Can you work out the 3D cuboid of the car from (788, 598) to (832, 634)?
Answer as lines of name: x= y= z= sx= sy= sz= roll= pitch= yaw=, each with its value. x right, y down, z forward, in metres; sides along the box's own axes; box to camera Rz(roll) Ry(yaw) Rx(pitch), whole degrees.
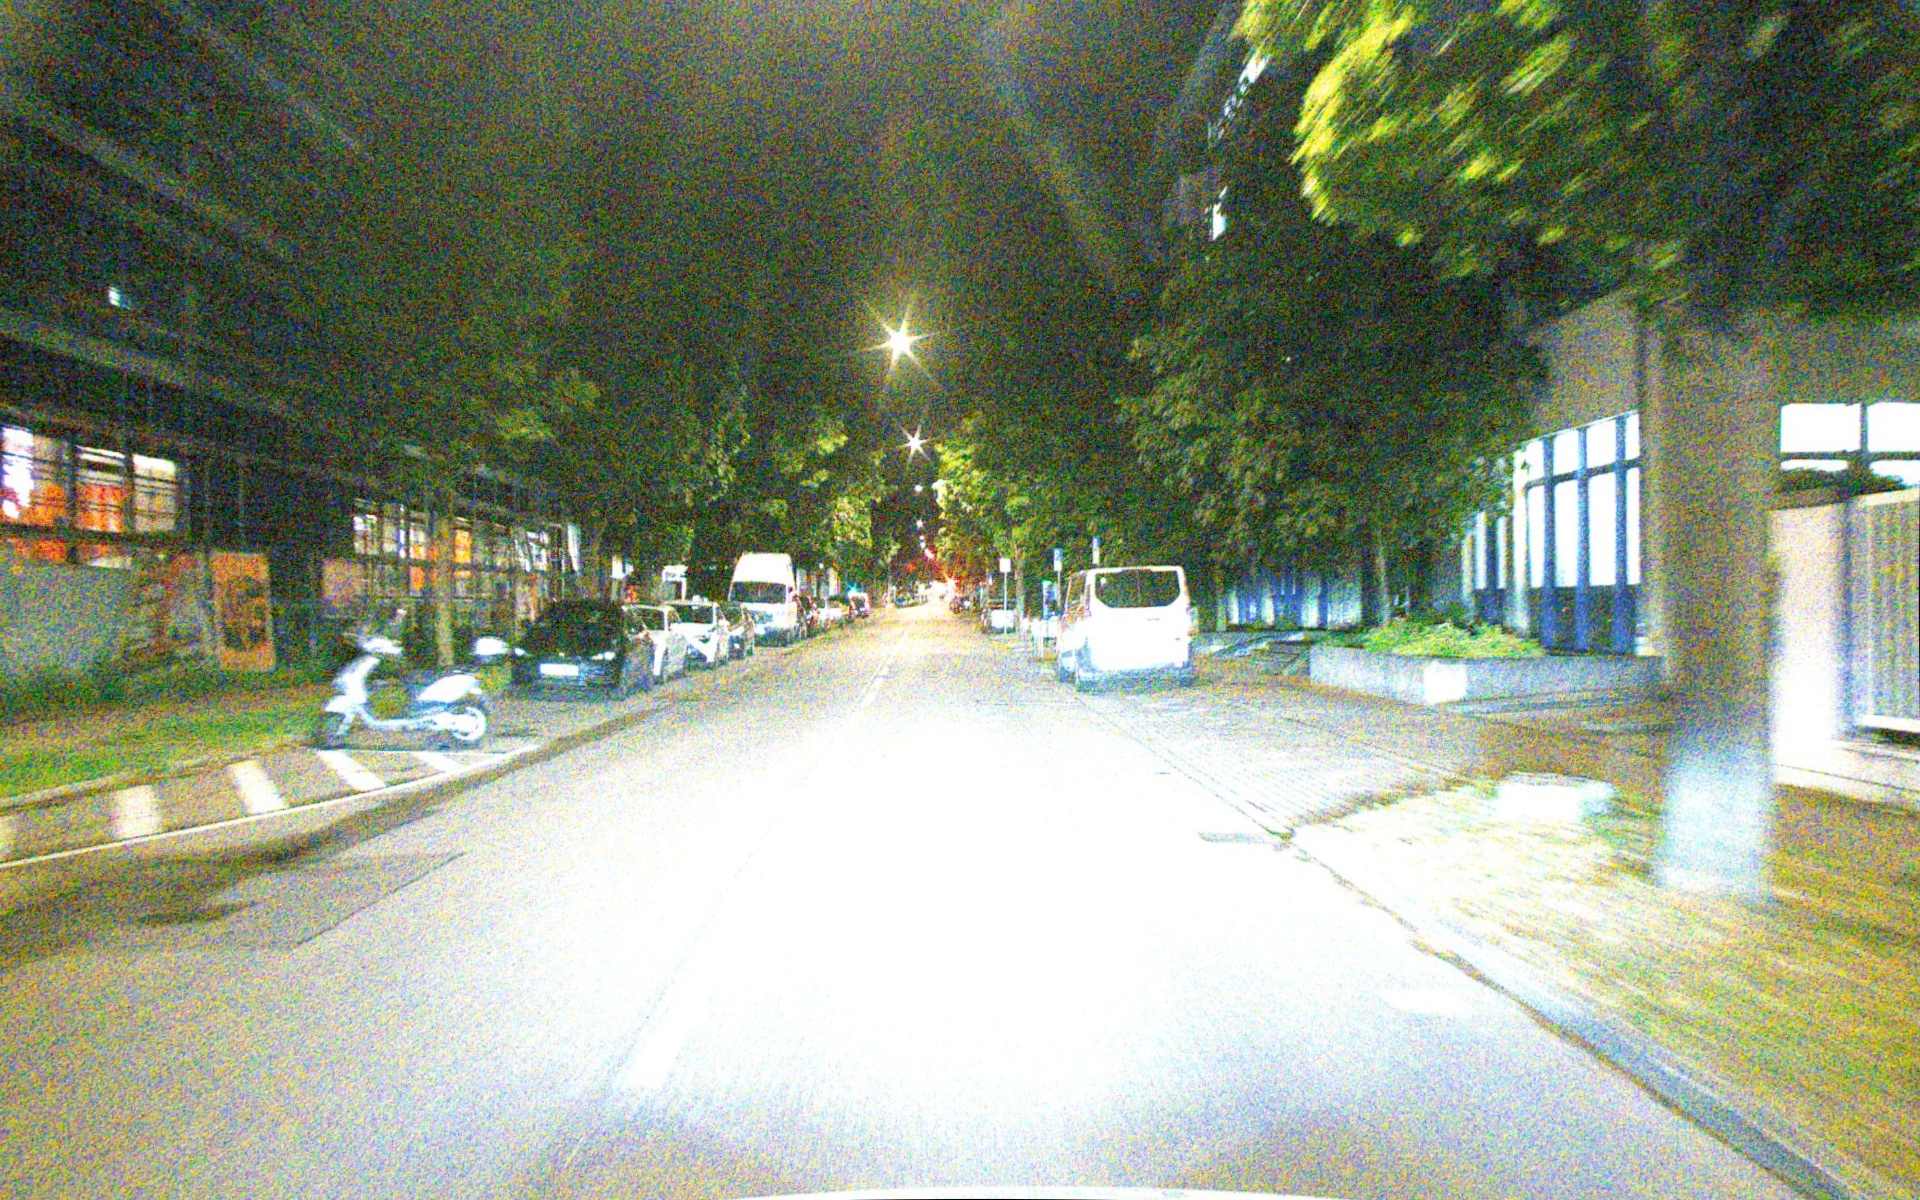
car: x=-6.819 y=0.737 z=75.687 sx=1.682 sy=1.528 sz=4.204 roll=3 pitch=0 yaw=-2

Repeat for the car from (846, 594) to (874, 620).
car: x=-7.704 y=0.559 z=127.739 sx=1.785 sy=1.843 sz=4.210 roll=3 pitch=0 yaw=0

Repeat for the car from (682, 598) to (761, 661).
car: x=-6.226 y=0.762 z=43.443 sx=1.612 sy=1.531 sz=3.859 roll=2 pitch=0 yaw=-2

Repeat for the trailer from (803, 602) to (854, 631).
trailer: x=-6.601 y=0.835 z=83.648 sx=2.067 sy=1.358 sz=5.434 roll=3 pitch=-1 yaw=0

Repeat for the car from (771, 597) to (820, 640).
car: x=-6.472 y=0.725 z=65.333 sx=1.707 sy=1.635 sz=4.295 roll=0 pitch=0 yaw=-3

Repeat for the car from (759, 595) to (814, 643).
car: x=-6.247 y=0.685 z=59.992 sx=1.707 sy=1.635 sz=4.113 roll=1 pitch=0 yaw=-3

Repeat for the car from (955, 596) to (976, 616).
car: x=0.459 y=0.526 z=141.257 sx=1.815 sy=1.683 sz=4.208 roll=0 pitch=0 yaw=0

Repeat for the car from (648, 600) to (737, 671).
car: x=-5.998 y=0.776 z=37.322 sx=1.516 sy=1.481 sz=3.367 roll=2 pitch=0 yaw=-2

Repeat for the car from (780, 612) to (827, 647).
car: x=-6.648 y=1.236 z=70.735 sx=1.670 sy=1.436 sz=4.632 roll=0 pitch=0 yaw=-1

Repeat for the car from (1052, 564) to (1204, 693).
car: x=2.803 y=0.463 z=28.612 sx=1.912 sy=1.998 sz=4.601 roll=-2 pitch=0 yaw=-3

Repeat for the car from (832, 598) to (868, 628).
car: x=-6.543 y=0.766 z=98.446 sx=1.785 sy=1.626 sz=4.072 roll=3 pitch=0 yaw=0

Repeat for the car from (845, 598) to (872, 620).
car: x=-7.365 y=0.652 z=120.600 sx=1.665 sy=1.458 sz=3.828 roll=3 pitch=0 yaw=0

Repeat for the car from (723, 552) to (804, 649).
car: x=-6.380 y=0.032 z=54.287 sx=2.135 sy=2.960 sz=4.908 roll=2 pitch=-1 yaw=-2

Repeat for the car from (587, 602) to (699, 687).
car: x=-5.963 y=0.802 z=31.470 sx=1.416 sy=1.454 sz=3.902 roll=3 pitch=0 yaw=-2

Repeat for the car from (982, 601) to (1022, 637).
car: x=1.781 y=0.813 z=70.759 sx=1.634 sy=1.454 sz=4.148 roll=-2 pitch=0 yaw=1

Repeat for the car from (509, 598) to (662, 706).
car: x=-5.888 y=0.782 z=26.424 sx=1.609 sy=1.531 sz=3.902 roll=2 pitch=0 yaw=-2

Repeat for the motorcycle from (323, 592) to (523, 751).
motorcycle: x=-5.523 y=0.738 z=17.049 sx=1.874 sy=1.577 sz=0.635 roll=2 pitch=-1 yaw=-21
